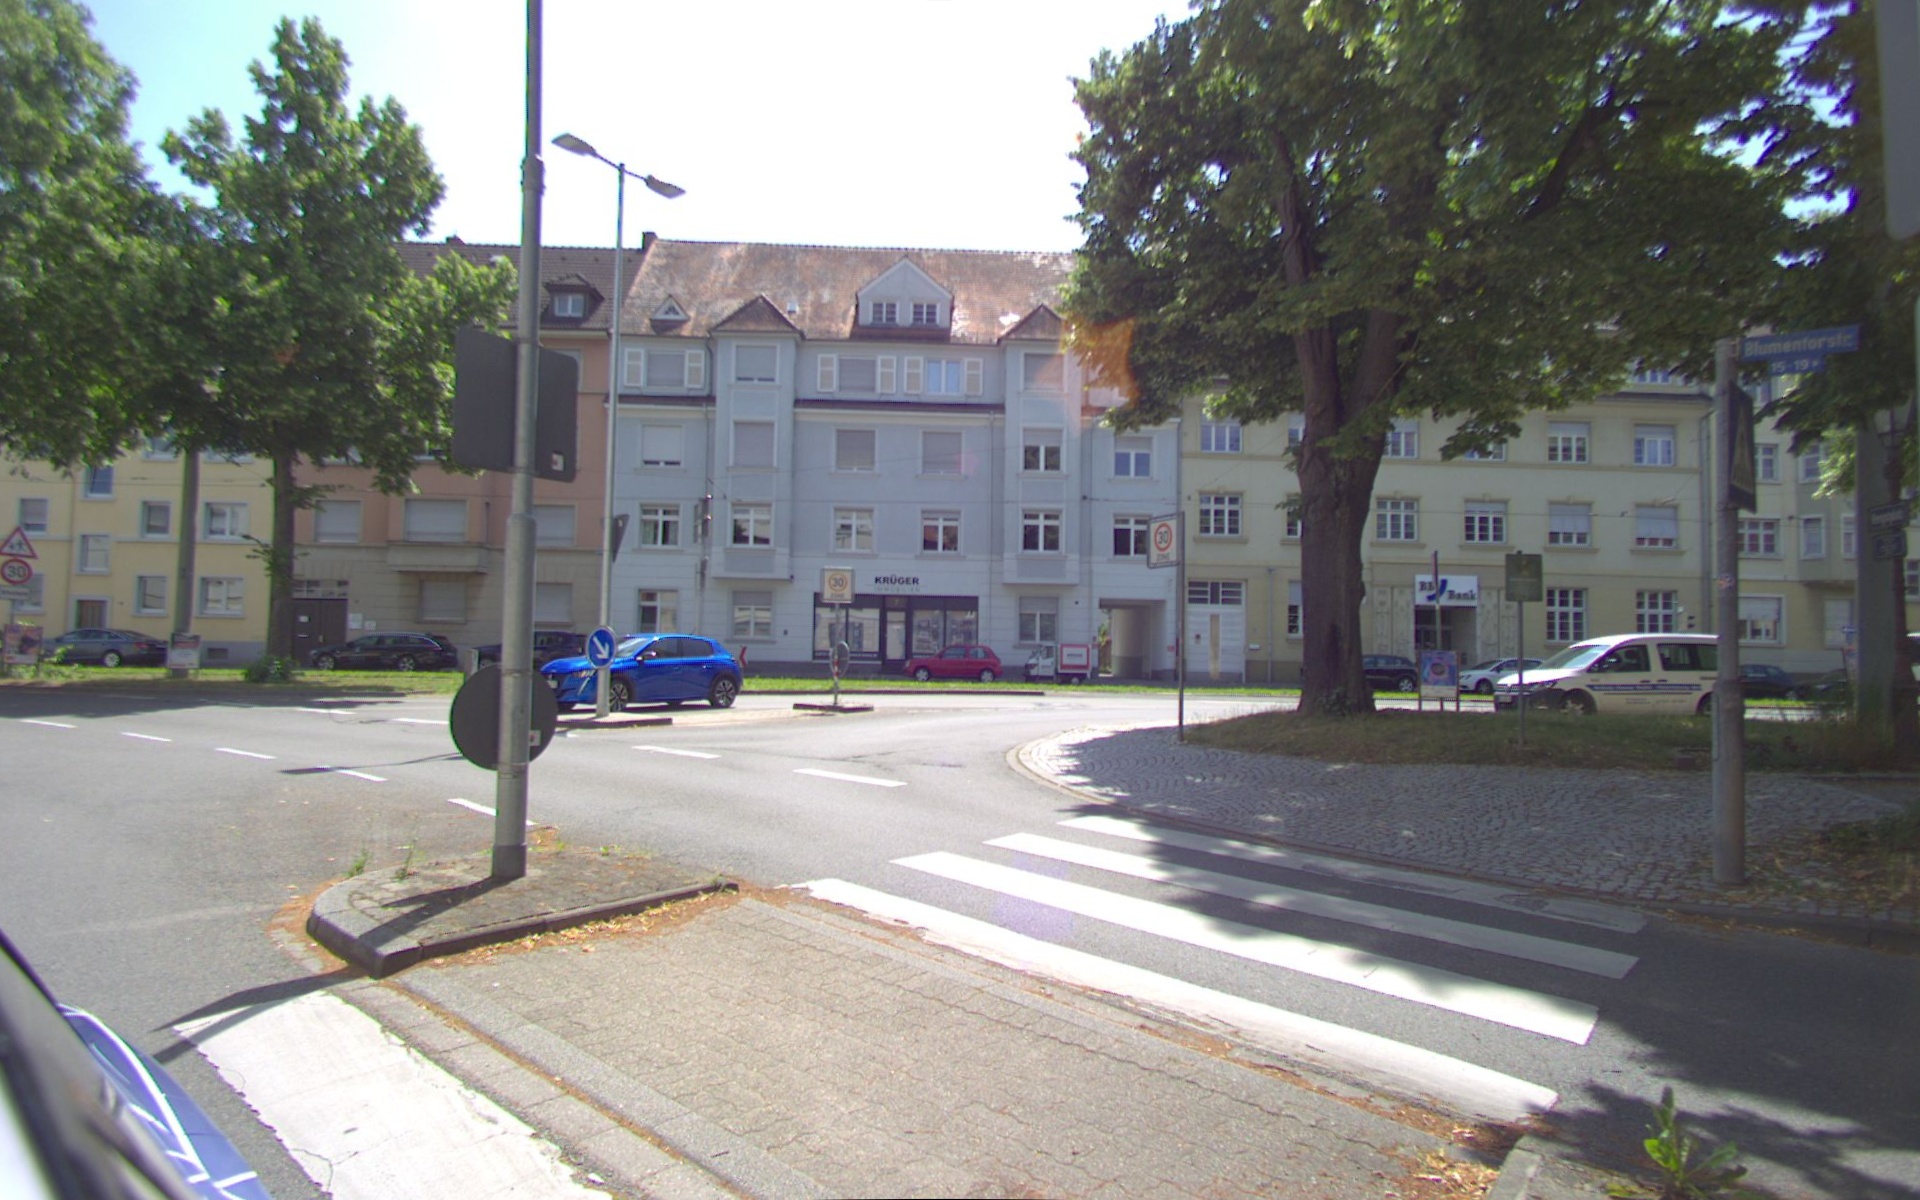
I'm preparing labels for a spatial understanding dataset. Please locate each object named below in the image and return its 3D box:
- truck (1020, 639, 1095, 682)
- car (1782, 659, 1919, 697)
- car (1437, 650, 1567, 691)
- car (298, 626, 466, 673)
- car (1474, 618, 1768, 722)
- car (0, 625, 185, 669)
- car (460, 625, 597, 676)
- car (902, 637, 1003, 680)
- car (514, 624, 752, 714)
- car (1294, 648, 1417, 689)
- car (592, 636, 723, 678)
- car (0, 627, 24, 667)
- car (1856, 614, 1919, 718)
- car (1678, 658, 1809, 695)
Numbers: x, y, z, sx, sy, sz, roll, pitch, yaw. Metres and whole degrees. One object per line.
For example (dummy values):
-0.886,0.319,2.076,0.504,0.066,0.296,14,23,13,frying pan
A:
3.565,2.243,37.116,2.556,1.506,1.130,1,-5,-3,truck
33.473,2.922,37.749,4.202,1.288,1.647,1,-5,-2,car
19.876,2.604,37.208,3.801,1.401,1.692,1,-5,-2,car
-20.531,1.781,36.112,4.792,1.502,1.934,1,-5,-2,car
12.700,1.350,19.664,4.358,1.840,2.001,1,-3,-2,car
-30.565,1.675,35.731,4.794,1.409,1.934,1,-5,-1,car
-15.442,1.841,36.350,4.082,1.698,1.843,1,-5,-2,car
-0.307,2.144,36.723,3.573,1.462,1.577,1,-5,-2,car
-6.050,1.256,19.107,1.812,1.503,3.949,-2,-4,37,car
14.468,2.532,37.148,3.801,1.370,1.692,1,-5,-2,car
-10.836,2.075,36.495,4.188,1.367,1.813,1,-5,-2,car
-36.029,1.623,35.738,4.082,1.411,1.837,1,-5,-1,car
21.079,1.330,19.812,5.174,2.018,2.056,1,-3,0,car
29.081,2.849,37.628,3.534,1.288,1.607,1,-5,-2,car
